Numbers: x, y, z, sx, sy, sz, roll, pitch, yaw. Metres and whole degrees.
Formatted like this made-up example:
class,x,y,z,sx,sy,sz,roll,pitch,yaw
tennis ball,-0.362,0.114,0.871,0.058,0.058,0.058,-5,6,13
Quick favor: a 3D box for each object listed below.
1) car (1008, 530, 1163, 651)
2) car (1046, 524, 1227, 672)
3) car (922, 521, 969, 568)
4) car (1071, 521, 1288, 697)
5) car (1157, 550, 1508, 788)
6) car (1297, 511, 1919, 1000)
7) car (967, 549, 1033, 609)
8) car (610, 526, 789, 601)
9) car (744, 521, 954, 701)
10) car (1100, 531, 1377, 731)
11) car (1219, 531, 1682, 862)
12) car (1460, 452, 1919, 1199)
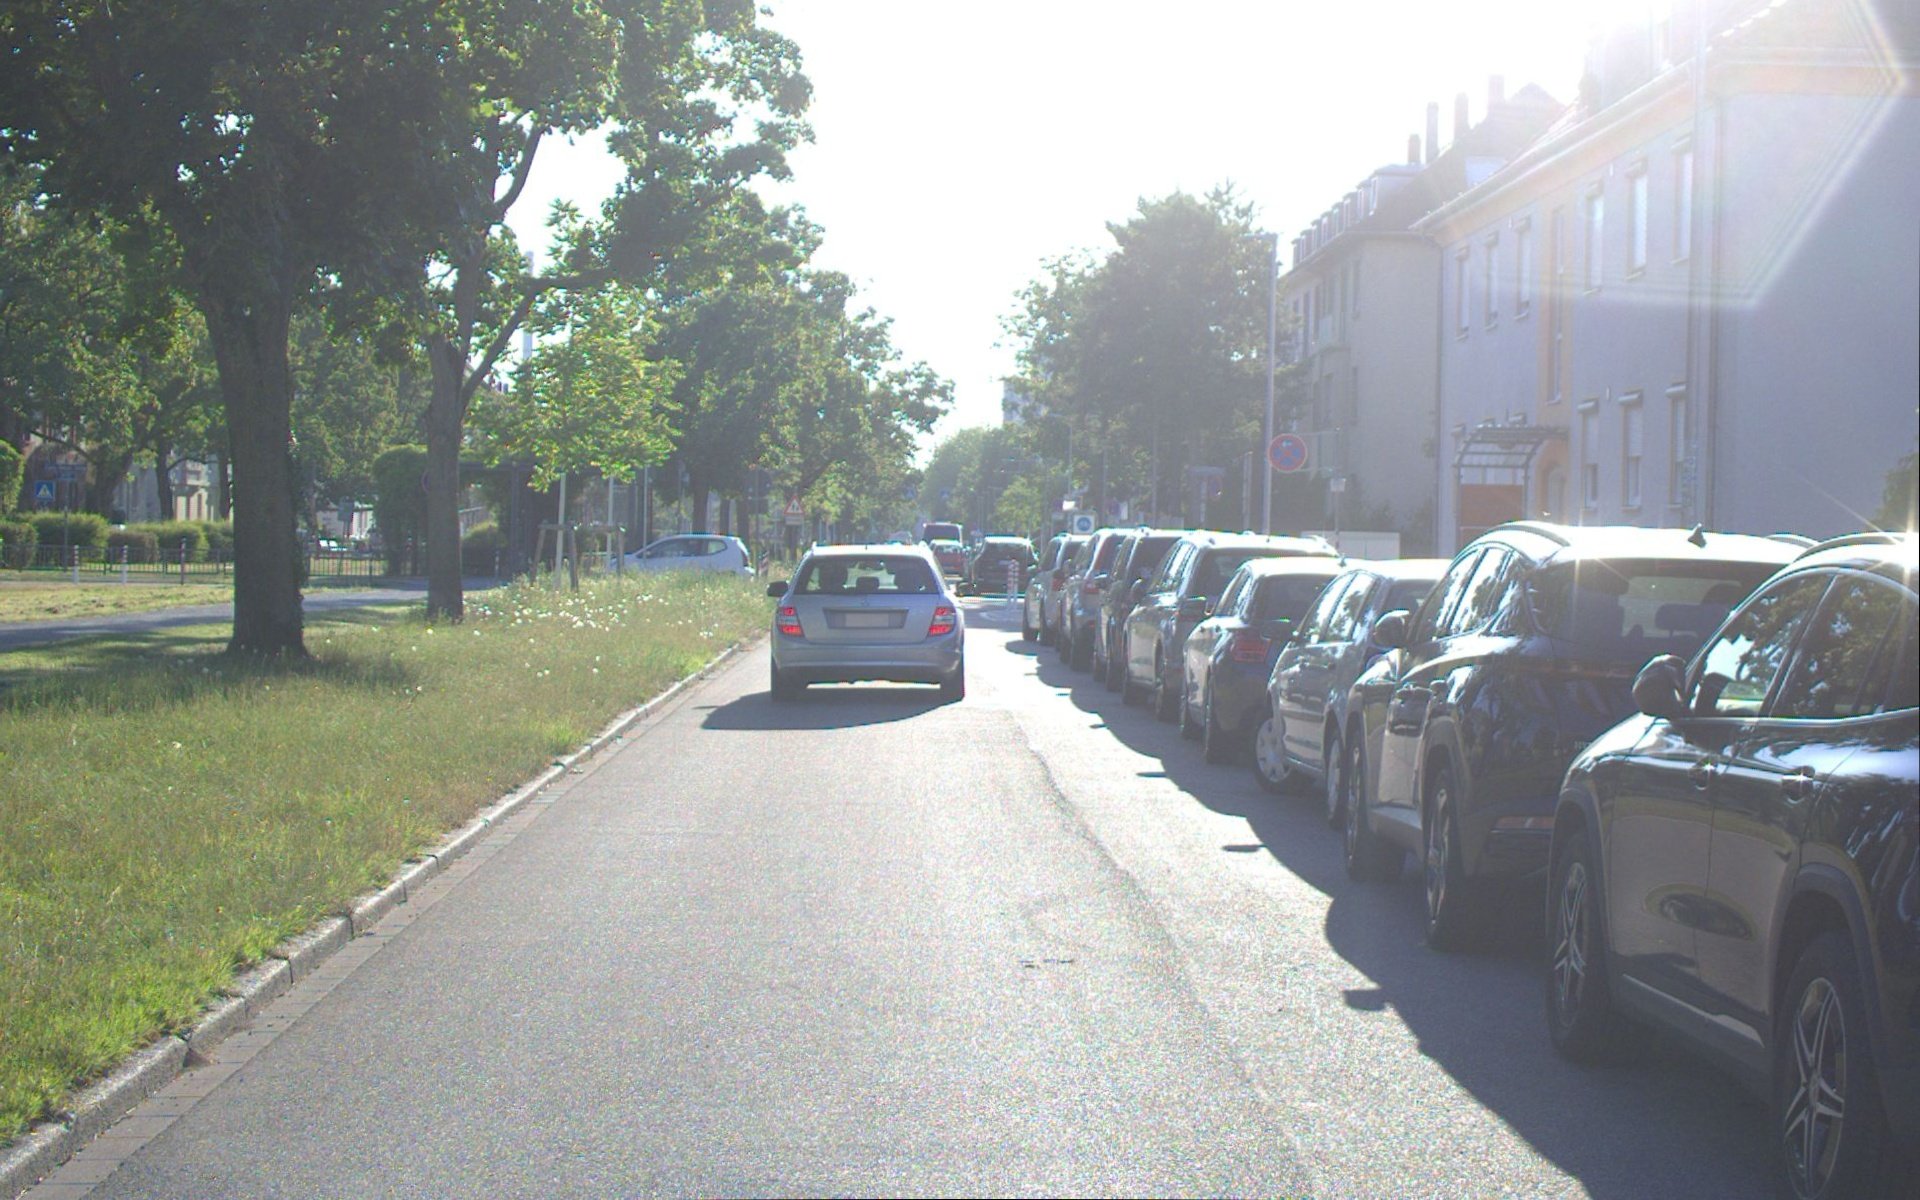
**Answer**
class,x,y,z,sx,sy,sz,roll,pitch,yaw
car,1.828,-0.163,51.462,1.716,1.633,4.565,3,1,-4
car,2.051,-0.038,41.271,1.777,1.637,4.757,1,0,-1
car,-0.652,-2.464,153.551,1.988,2.016,4.000,2,1,0
car,2.213,0.079,35.837,1.765,1.629,4.765,3,0,-1
car,2.574,0.418,24.857,1.993,1.457,4.561,3,1,0
car,2.647,0.506,14.525,1.854,1.651,4.820,3,1,-1
car,1.079,-0.572,95.229,1.721,1.591,4.000,1,0,-1
car,-6.059,-0.847,80.205,3.893,1.591,2.000,-2,0,3
car,-0.985,0.054,32.051,1.823,1.561,4.000,0,1,0
car,2.348,0.218,30.029,1.724,1.556,4.417,2,1,-4
car,2.701,0.494,19.914,1.728,1.543,4.208,6,0,-3
car,2.715,0.599,8.941,1.933,1.714,4.622,4,1,-1
